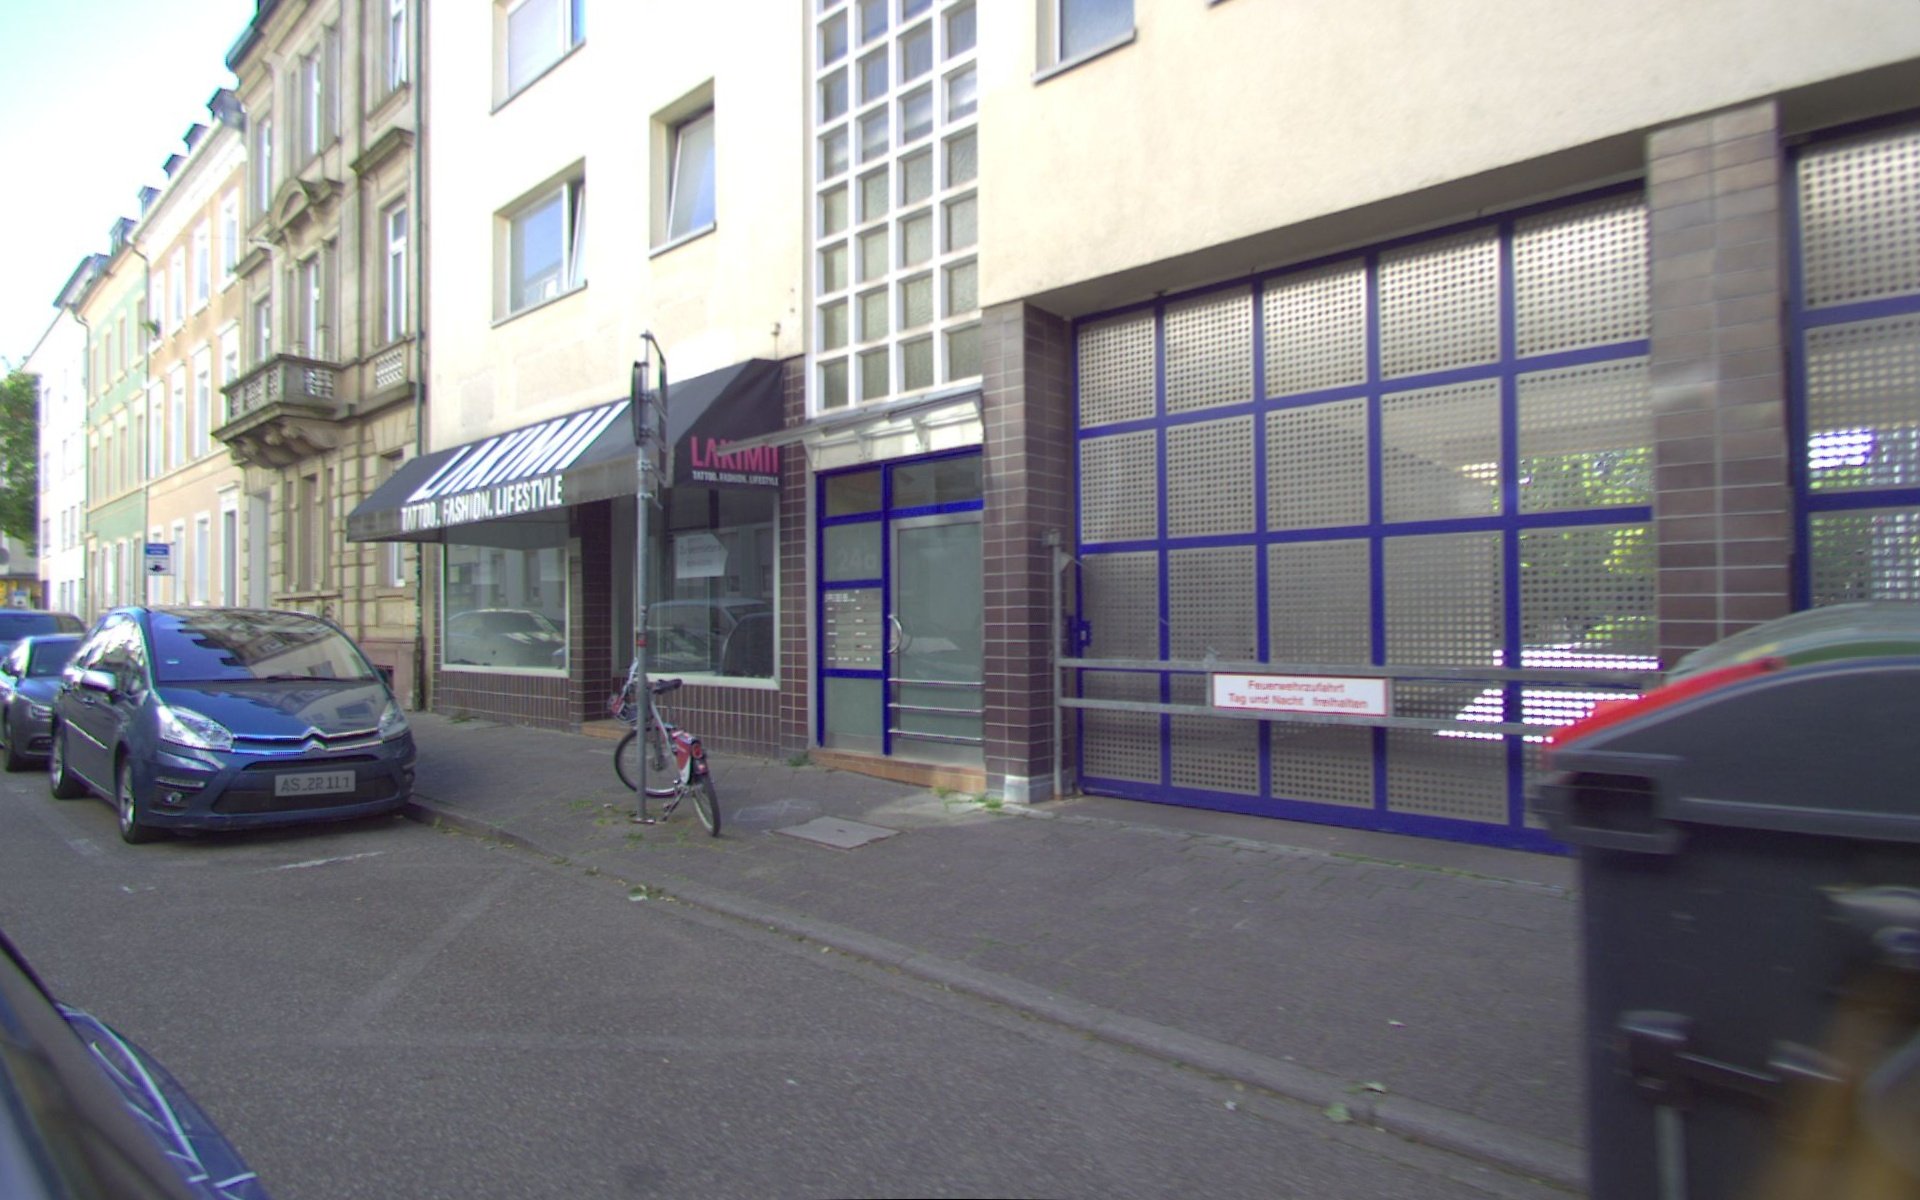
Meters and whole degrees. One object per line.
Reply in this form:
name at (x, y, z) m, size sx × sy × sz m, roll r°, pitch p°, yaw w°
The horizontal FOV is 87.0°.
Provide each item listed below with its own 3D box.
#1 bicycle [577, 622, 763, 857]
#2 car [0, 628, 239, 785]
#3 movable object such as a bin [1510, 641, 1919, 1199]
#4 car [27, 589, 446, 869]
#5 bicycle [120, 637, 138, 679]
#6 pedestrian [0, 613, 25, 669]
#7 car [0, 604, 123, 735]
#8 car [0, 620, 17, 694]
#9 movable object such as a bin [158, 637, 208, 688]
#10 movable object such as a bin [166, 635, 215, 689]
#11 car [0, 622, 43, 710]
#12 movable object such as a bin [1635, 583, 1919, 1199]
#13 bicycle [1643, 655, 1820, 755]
bicycle at (-2.058, 0.870, 7.002) m, size 0.460 × 1.341 × 1.857 m, roll -4°, pitch 3°, yaw -40°
car at (-10.199, 1.076, 11.813) m, size 4.816 × 1.428 × 1.826 m, roll -1°, pitch -3°, yaw 42°
movable object such as a bin at (1.812, 0.825, 1.837) m, size 1.186 × 1.461 × 1.305 m, roll -1°, pitch -3°, yaw 41°
car at (-6.119, 0.854, 8.314) m, size 4.668 × 1.679 × 1.763 m, roll -1°, pitch -3°, yaw 42°
bicycle at (-22.209, 1.529, 27.057) m, size 0.356 × 1.036 × 1.921 m, roll 1°, pitch -2°, yaw -39°
pedestrian at (-32.060, 1.354, 33.914) m, size 1.245 × 1.846 × 0.901 m, roll -1°, pitch -2°, yaw 41°
car at (-14.633, 0.988, 15.551) m, size 5.140 × 1.749 × 1.916 m, roll -1°, pitch -3°, yaw 41°
car at (-22.287, 1.242, 22.414) m, size 3.975 × 1.565 × 1.599 m, roll -1°, pitch -2°, yaw 41°
movable object such as a bin at (-17.297, 1.385, 22.535) m, size 0.682 × 1.097 × 0.728 m, roll -3°, pitch -3°, yaw 37°
movable object such as a bin at (-16.821, 1.350, 22.138) m, size 0.584 × 1.140 × 0.712 m, roll -1°, pitch -2°, yaw 37°
car at (-18.787, 1.198, 19.176) m, size 4.367 × 1.543 × 1.695 m, roll -1°, pitch -3°, yaw 43°
movable object such as a bin at (2.726, 0.718, 2.885) m, size 1.178 × 1.509 × 1.283 m, roll -1°, pitch -1°, yaw 41°
bicycle at (7.315, 0.966, 9.644) m, size 0.415 × 0.853 × 1.249 m, roll 0°, pitch -2°, yaw -32°
